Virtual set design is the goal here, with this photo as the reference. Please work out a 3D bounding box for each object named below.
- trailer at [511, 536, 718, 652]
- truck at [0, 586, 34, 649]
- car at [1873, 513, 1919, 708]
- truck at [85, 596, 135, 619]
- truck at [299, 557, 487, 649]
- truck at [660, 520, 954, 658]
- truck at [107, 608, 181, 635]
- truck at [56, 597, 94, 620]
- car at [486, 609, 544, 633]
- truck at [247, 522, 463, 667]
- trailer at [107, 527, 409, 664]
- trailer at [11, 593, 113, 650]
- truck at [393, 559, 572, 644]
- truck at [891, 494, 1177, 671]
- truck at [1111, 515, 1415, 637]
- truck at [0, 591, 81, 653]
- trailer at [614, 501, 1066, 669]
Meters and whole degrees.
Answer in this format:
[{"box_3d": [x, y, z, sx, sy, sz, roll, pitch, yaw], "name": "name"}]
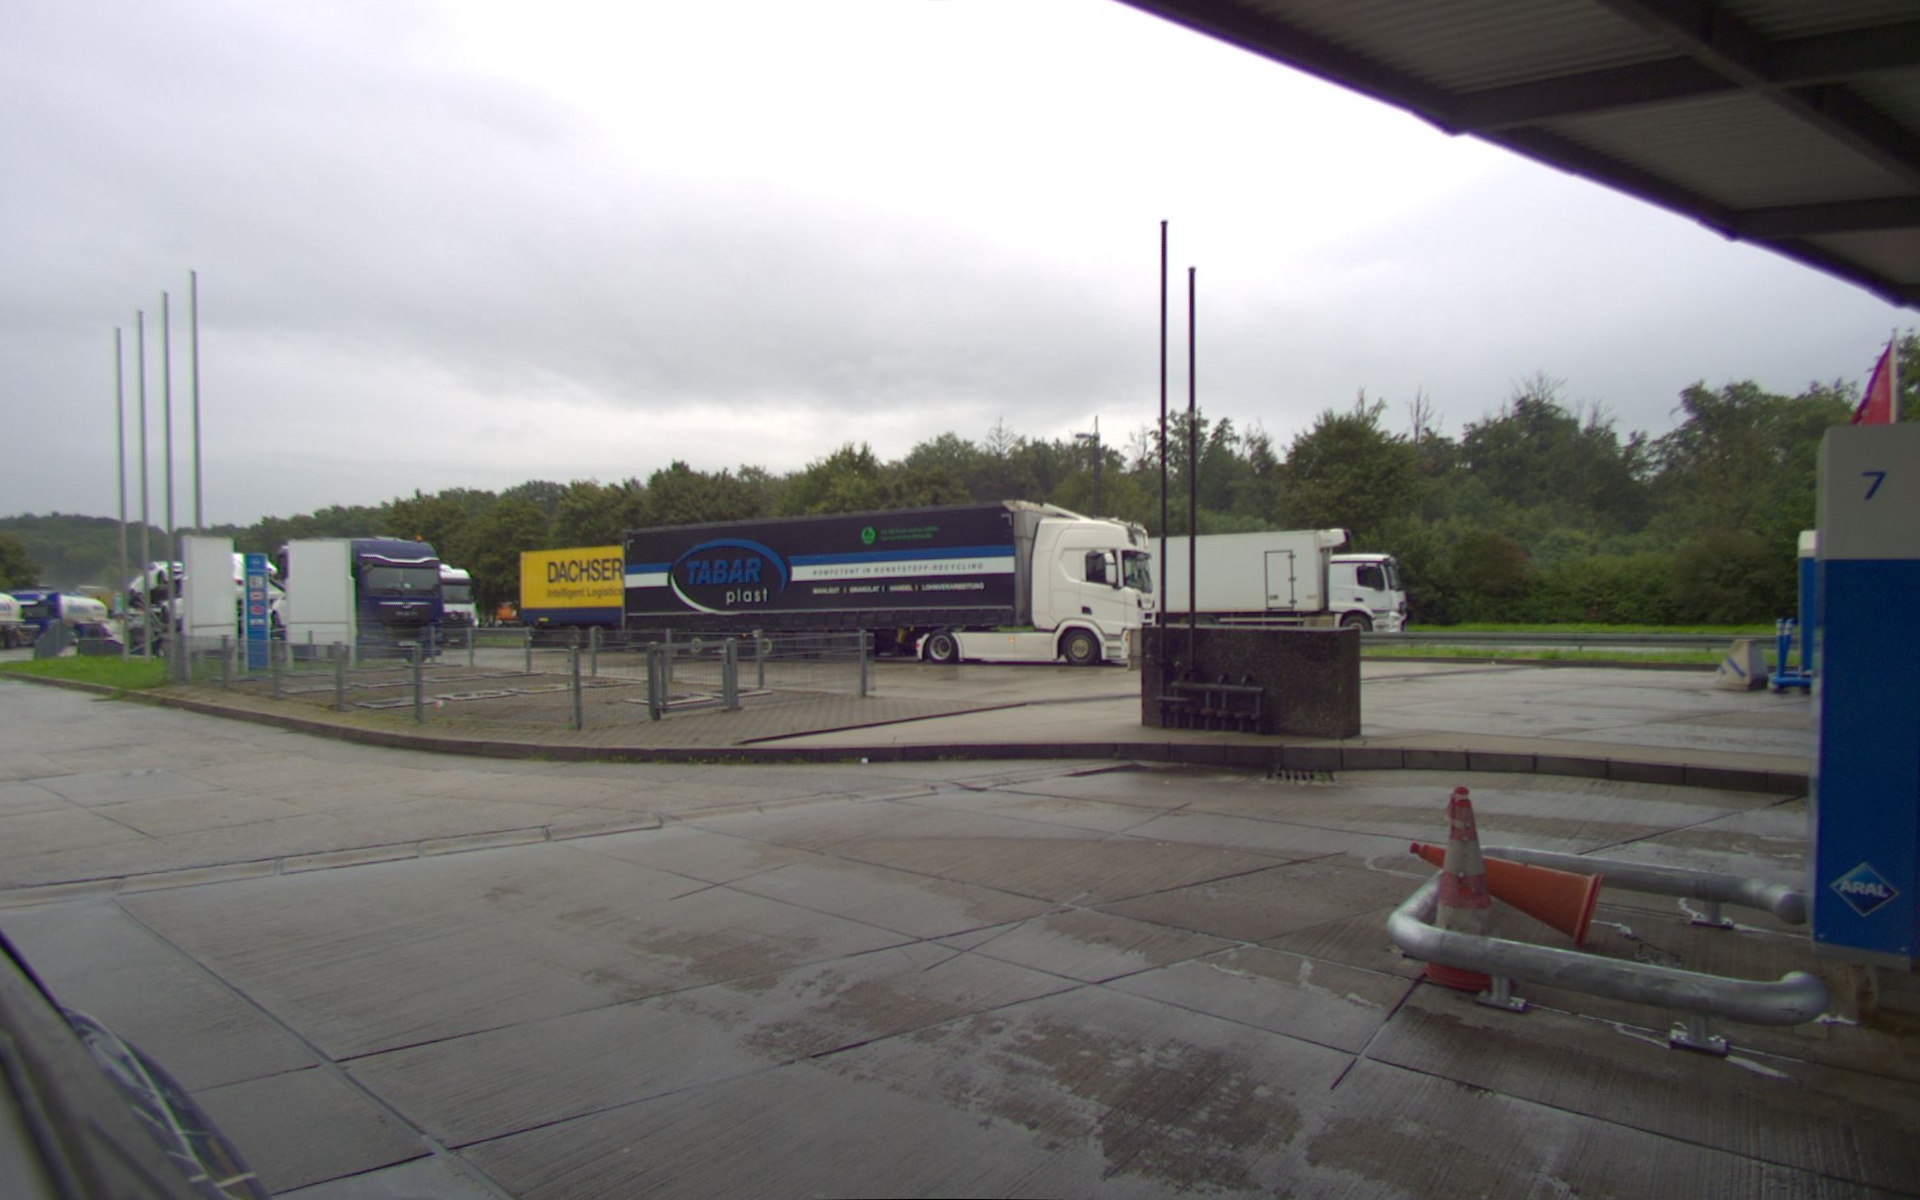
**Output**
[{"box_3d": [-13.543, -0.173, 39.281, 8.833, 4.063, 2.743, -1, 0, 33], "name": "trailer"}, {"box_3d": [-55.556, 1.012, 55.007, 3.196, 3.591, 12.013, -1, 0, -19], "name": "truck"}, {"box_3d": [14.847, 0.107, 12.333, 5.272, 2.482, 2.298, -1, -2, 37], "name": "car"}, {"box_3d": [-134.991, 1.244, 160.621, 11.949, 3.591, 3.213, -1, 0, 36], "name": "truck"}, {"box_3d": [-27.238, 0.168, 48.402, 10.433, 4.063, 2.961, -1, 0, 30], "name": "truck"}, {"box_3d": [-5.387, -0.277, 33.948, 10.608, 4.063, 2.743, -1, 0, 33], "name": "truck"}, {"box_3d": [-112.717, 2.928, 139.658, 16.515, 3.591, 3.215, -1, 0, 34], "name": "truck"}, {"box_3d": [-137.781, 1.299, 157.501, 9.306, 3.504, 2.588, -1, 0, 36], "name": "truck"}, {"box_3d": [-41.540, 1.957, 94.466, 5.612, 2.192, 2.393, -1, -1, 35], "name": "car"}, {"box_3d": [-18.990, -0.119, 31.614, 7.244, 4.063, 2.957, -1, 0, 34], "name": "truck"}, {"box_3d": [-25.414, -0.062, 35.917, 16.563, 4.063, 2.957, -1, 0, 34], "name": "trailer"}, {"box_3d": [-62.268, 1.426, 70.473, 2.854, 3.666, 10.605, -1, 0, -28], "name": "trailer"}, {"box_3d": [-24.778, 0.134, 52.267, 10.433, 4.063, 2.961, -1, 0, 30], "name": "truck"}, {"box_3d": [1.888, -0.369, 25.964, 6.704, 4.063, 2.966, -1, 0, 25], "name": "truck"}, {"box_3d": [11.079, -0.744, 37.691, 10.433, 4.063, 2.961, -1, 0, 30], "name": "truck"}, {"box_3d": [-59.422, 1.363, 64.986, 3.000, 3.795, 6.486, -1, 0, -27], "name": "truck"}, {"box_3d": [-3.905, -0.294, 29.047, 13.747, 4.063, 2.962, -1, 0, 29], "name": "trailer"}]
